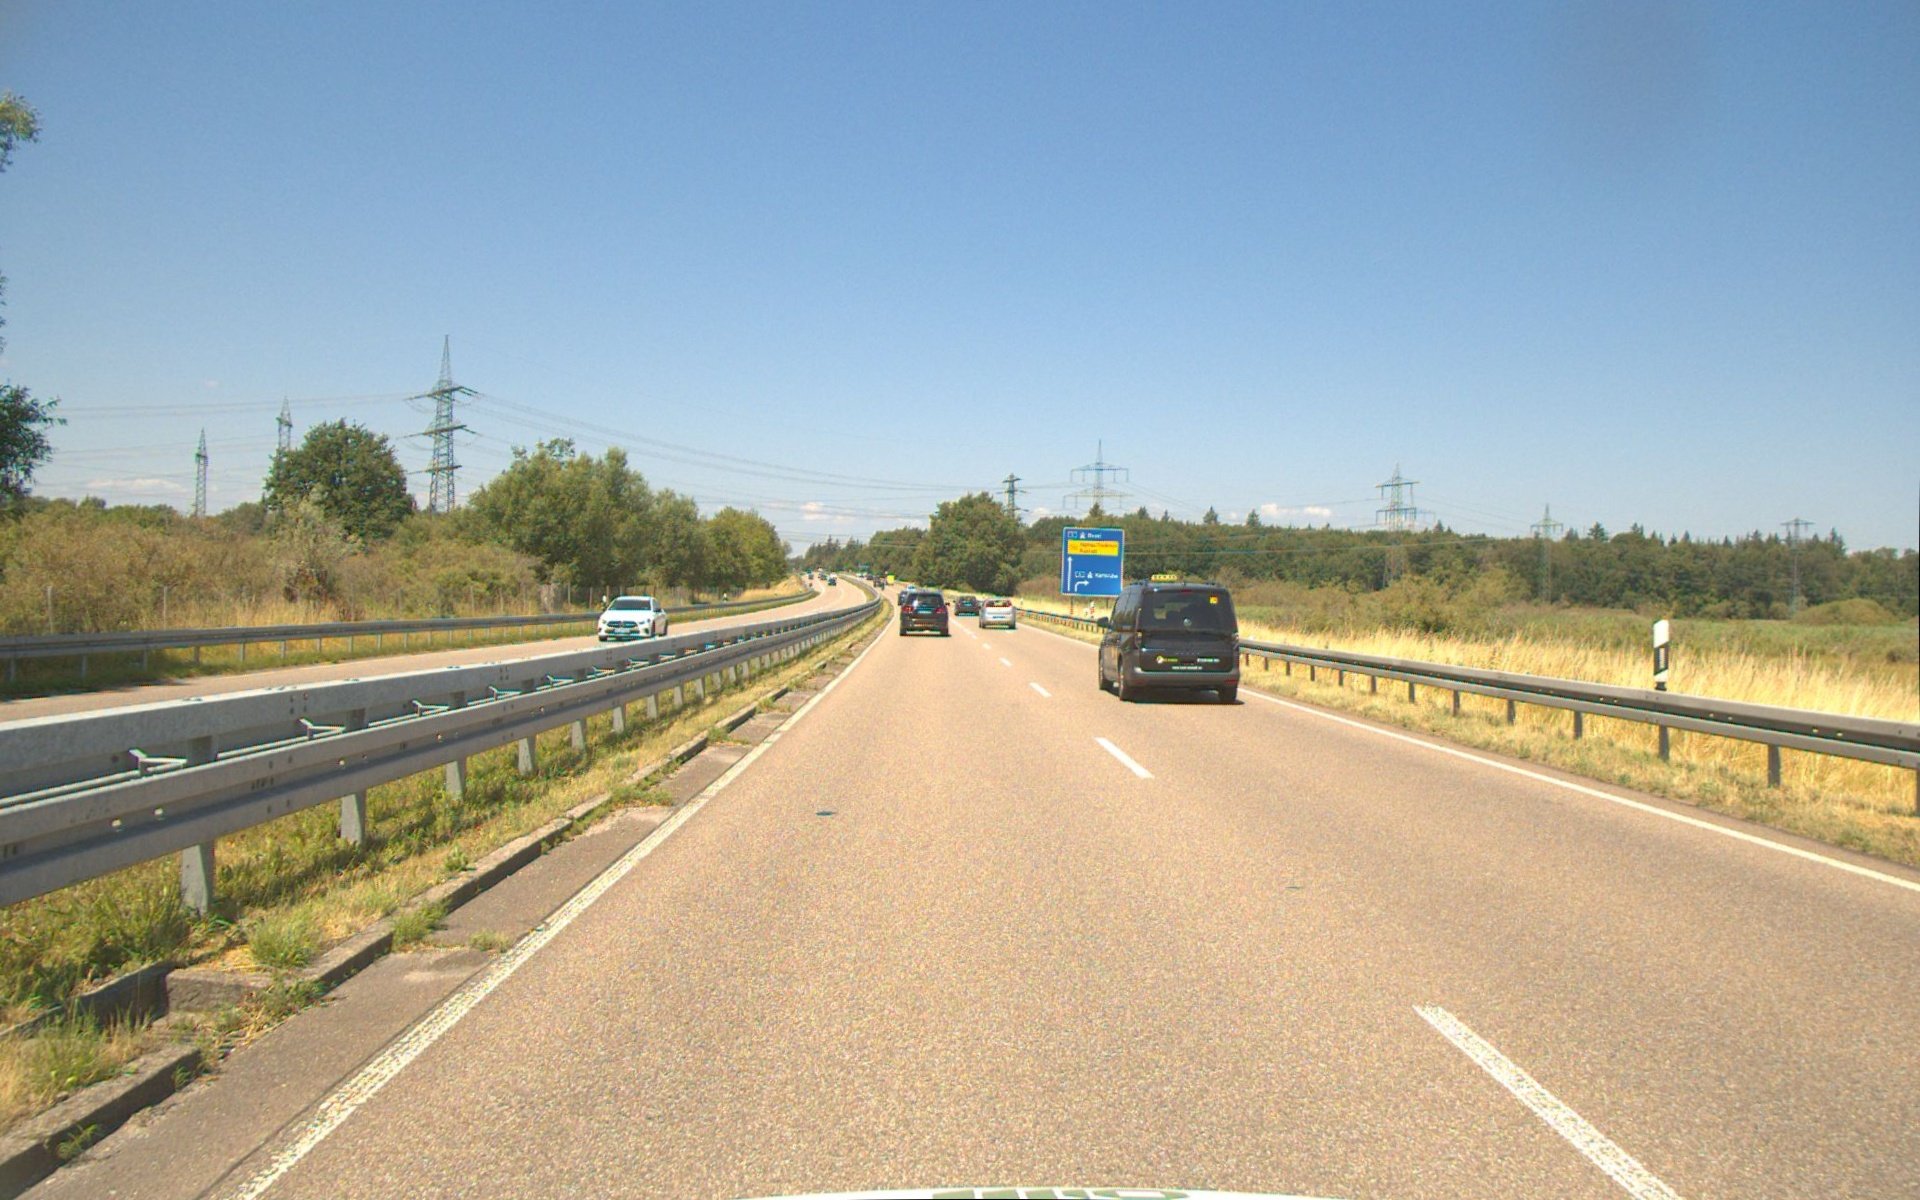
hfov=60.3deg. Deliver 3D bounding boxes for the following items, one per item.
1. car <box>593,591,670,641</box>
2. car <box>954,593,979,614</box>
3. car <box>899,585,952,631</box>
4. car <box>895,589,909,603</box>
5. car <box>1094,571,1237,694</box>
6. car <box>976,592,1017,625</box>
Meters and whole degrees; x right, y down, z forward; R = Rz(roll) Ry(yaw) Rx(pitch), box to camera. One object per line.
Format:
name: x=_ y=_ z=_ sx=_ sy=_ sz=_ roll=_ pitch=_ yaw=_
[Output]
car: x=-10.813 y=0.485 z=54.716 sx=1.790 sy=1.524 sz=4.101 roll=2 pitch=0 yaw=-2
car: x=0.448 y=0.232 z=121.806 sx=1.782 sy=1.439 sz=4.000 roll=1 pitch=1 yaw=-1
car: x=-1.369 y=0.305 z=65.029 sx=1.953 sy=1.683 sz=3.999 roll=2 pitch=0 yaw=-2
car: x=-6.437 y=-0.461 z=183.610 sx=1.484 sy=1.500 sz=3.065 roll=4 pitch=1 yaw=-2
car: x=3.284 y=0.476 z=27.190 sx=1.743 sy=1.848 sz=4.212 roll=1 pitch=0 yaw=-1
car: x=1.743 y=0.398 z=80.601 sx=1.743 sy=1.505 sz=4.314 roll=2 pitch=0 yaw=-2
